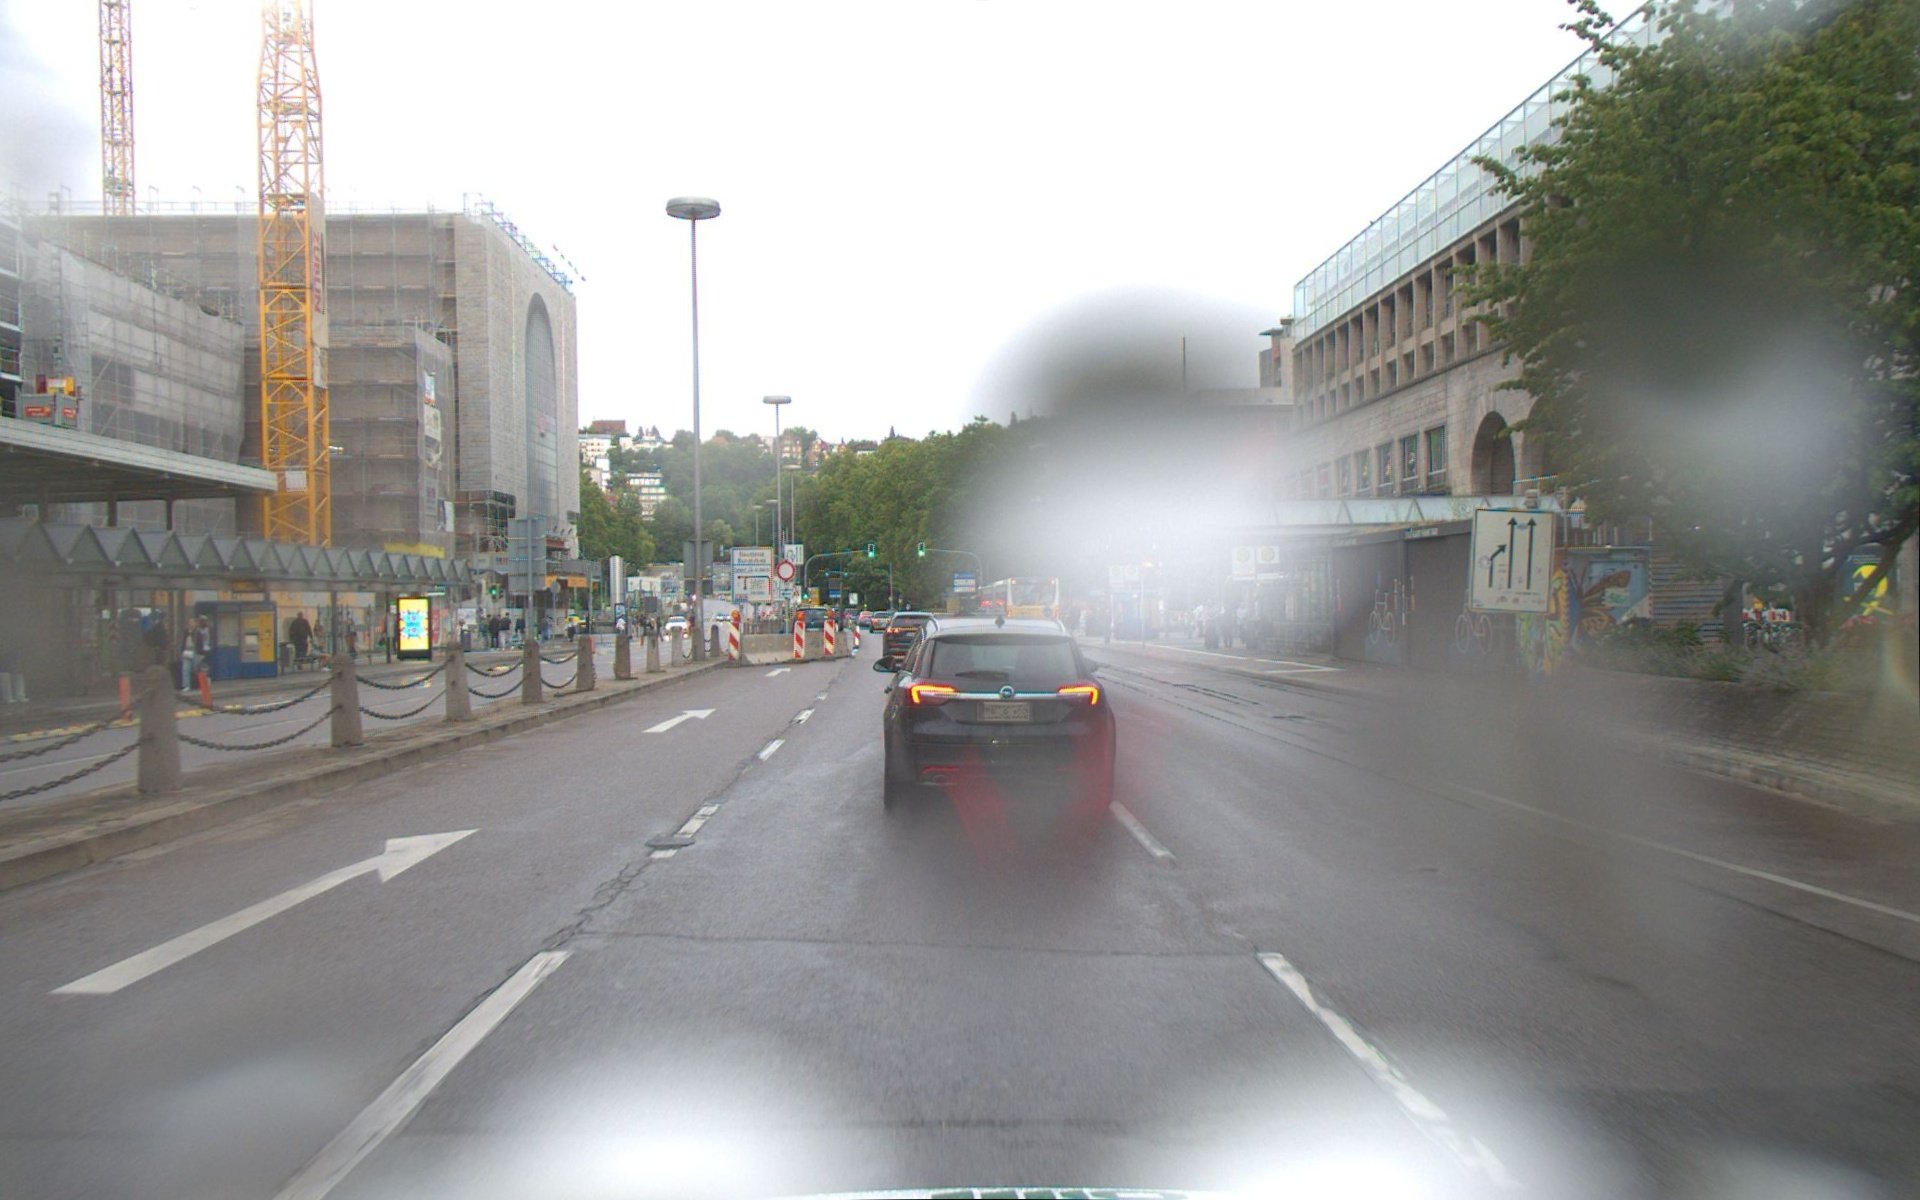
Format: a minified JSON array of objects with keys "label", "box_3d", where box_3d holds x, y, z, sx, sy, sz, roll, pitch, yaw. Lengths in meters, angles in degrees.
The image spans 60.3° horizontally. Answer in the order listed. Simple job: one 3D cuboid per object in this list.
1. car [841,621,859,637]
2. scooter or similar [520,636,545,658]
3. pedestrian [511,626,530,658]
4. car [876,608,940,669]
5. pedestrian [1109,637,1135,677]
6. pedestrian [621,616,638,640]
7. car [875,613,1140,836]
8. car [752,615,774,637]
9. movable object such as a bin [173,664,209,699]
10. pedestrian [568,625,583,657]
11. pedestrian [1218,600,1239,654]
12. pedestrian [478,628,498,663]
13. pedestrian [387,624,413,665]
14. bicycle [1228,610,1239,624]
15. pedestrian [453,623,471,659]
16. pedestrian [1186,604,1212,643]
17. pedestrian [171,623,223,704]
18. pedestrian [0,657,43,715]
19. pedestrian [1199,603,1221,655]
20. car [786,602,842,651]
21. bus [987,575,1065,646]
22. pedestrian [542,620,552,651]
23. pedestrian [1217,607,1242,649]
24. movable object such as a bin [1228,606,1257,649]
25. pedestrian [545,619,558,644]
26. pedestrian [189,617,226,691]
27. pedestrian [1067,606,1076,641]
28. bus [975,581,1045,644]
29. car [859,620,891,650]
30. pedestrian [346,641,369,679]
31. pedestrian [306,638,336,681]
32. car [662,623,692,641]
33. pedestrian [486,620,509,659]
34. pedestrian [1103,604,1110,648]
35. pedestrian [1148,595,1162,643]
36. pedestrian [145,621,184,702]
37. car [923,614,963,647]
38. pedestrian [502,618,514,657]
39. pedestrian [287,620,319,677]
[{"label":"car","box_3d":[-11.479,3.003,172.983,1.671,1.695,3.704,0,-1,-2]},{"label":"scooter or similar","box_3d":[-21.647,2.370,83.799,0.450,1.085,1.237,-1,-1,31]},{"label":"pedestrian","box_3d":[-25.611,2.445,96.372,0.822,1.873,1.058,0,-1,1]},{"label":"car","box_3d":[-1.569,1.131,49.896,1.794,1.715,4.132,-1,-1,-2]},{"label":"pedestrian","box_3d":[7.168,2.518,73.366,0.749,1.720,0.992,0,-1,-24]},{"label":"pedestrian","box_3d":[-25.910,2.203,129.683,0.962,1.873,1.041,-1,-1,17]},{"label":"car","box_3d":[0.279,0.893,13.995,1.839,1.534,4.850,-1,-1,-1]},{"label":"car","box_3d":[-19.009,2.510,159.636,1.956,2.049,5.359,0,-1,-8]},{"label":"movable object such as a bin","box_3d":[-18.498,1.960,39.773,0.502,0.803,0.630,-3,-1,42]},{"label":"pedestrian","box_3d":[-23.016,2.447,98.962,0.861,1.873,0.835,0,-1,-17]},{"label":"pedestrian","box_3d":[9.434,0.935,58.087,0.614,1.869,0.641,0,-1,-1]},{"label":"pedestrian","box_3d":[-25.788,2.461,90.348,0.786,1.873,0.868,0,-1,1]},{"label":"pedestrian","box_3d":[-25.525,2.019,75.422,0.840,1.873,1.044,1,-1,-3]},{"label":"bicycle","box_3d":[22.287,1.397,134.851,0.603,1.074,1.997,-3,0,4]},{"label":"pedestrian","box_3d":[-25.902,2.135,86.037,0.706,1.873,0.612,0,-1,1]},{"label":"pedestrian","box_3d":[11.421,1.143,79.048,0.778,1.836,0.982,-1,-1,-31]},{"label":"pedestrian","box_3d":[-17.621,1.458,38.216,0.759,1.821,0.861,-1,-1,4]},{"label":"pedestrian","box_3d":[-20.054,1.808,34.827,0.930,1.178,1.054,0,-1,-3]},{"label":"pedestrian","box_3d":[8.945,1.041,59.227,0.662,1.869,0.574,0,-1,-1]},{"label":"car","box_3d":[-5.972,1.068,68.232,1.953,1.895,4.831,-1,-1,-2]},{"label":"bus","box_3d":[3.154,0.557,81.980,3.078,3.305,9.129,0,-1,-3]},{"label":"pedestrian","box_3d":[-24.886,2.138,99.649,0.561,1.873,0.701,0,-1,-17]},{"label":"pedestrian","box_3d":[10.866,1.116,66.650,0.750,1.683,0.674,0,-1,-27]},{"label":"movable object such as a bin","box_3d":[11.260,1.099,65.885,0.654,1.681,1.040,0,-1,-26]},{"label":"pedestrian","box_3d":[-26.823,2.078,108.567,0.662,1.642,0.838,0,-1,-1]},{"label":"pedestrian","box_3d":[-18.640,1.325,40.982,0.772,1.821,0.666,0,-1,-30]},{"label":"pedestrian","box_3d":[5.934,1.254,87.898,0.433,1.869,0.577,0,-1,2]},{"label":"bus","box_3d":[2.663,0.741,91.128,3.051,3.261,9.234,0,-1,-4]},{"label":"car","box_3d":[-5.889,2.401,114.615,1.946,2.049,4.363,0,-1,-6]},{"label":"pedestrian","box_3d":[-25.428,2.520,69.788,0.787,1.574,0.700,0,-1,-8]},{"label":"pedestrian","box_3d":[-20.454,1.893,52.977,0.685,1.349,0.804,0,-1,-4]},{"label":"car","box_3d":[-23.799,2.662,139.243,1.954,1.493,3.997,0,-1,-3]},{"label":"pedestrian","box_3d":[-22.910,1.953,82.011,0.688,1.873,0.877,-1,-1,26]},{"label":"pedestrian","box_3d":[6.247,1.103,70.512,0.238,1.869,0.512,0,-1,1]},{"label":"pedestrian","box_3d":[9.211,0.901,78.047,0.578,2.254,0.587,0,-1,-1]},{"label":"pedestrian","box_3d":[-18.870,1.452,39.226,0.548,1.880,0.674,-2,-1,43]},{"label":"car","box_3d":[-0.945,1.648,89.369,1.816,1.747,3.995,0,-1,-5]},{"label":"pedestrian","box_3d":[-21.956,1.825,80.344,0.498,1.873,0.703,0,-1,-9]},{"label":"pedestrian","box_3d":[-22.140,1.627,55.738,0.729,1.873,0.702,-1,-1,17]}]
